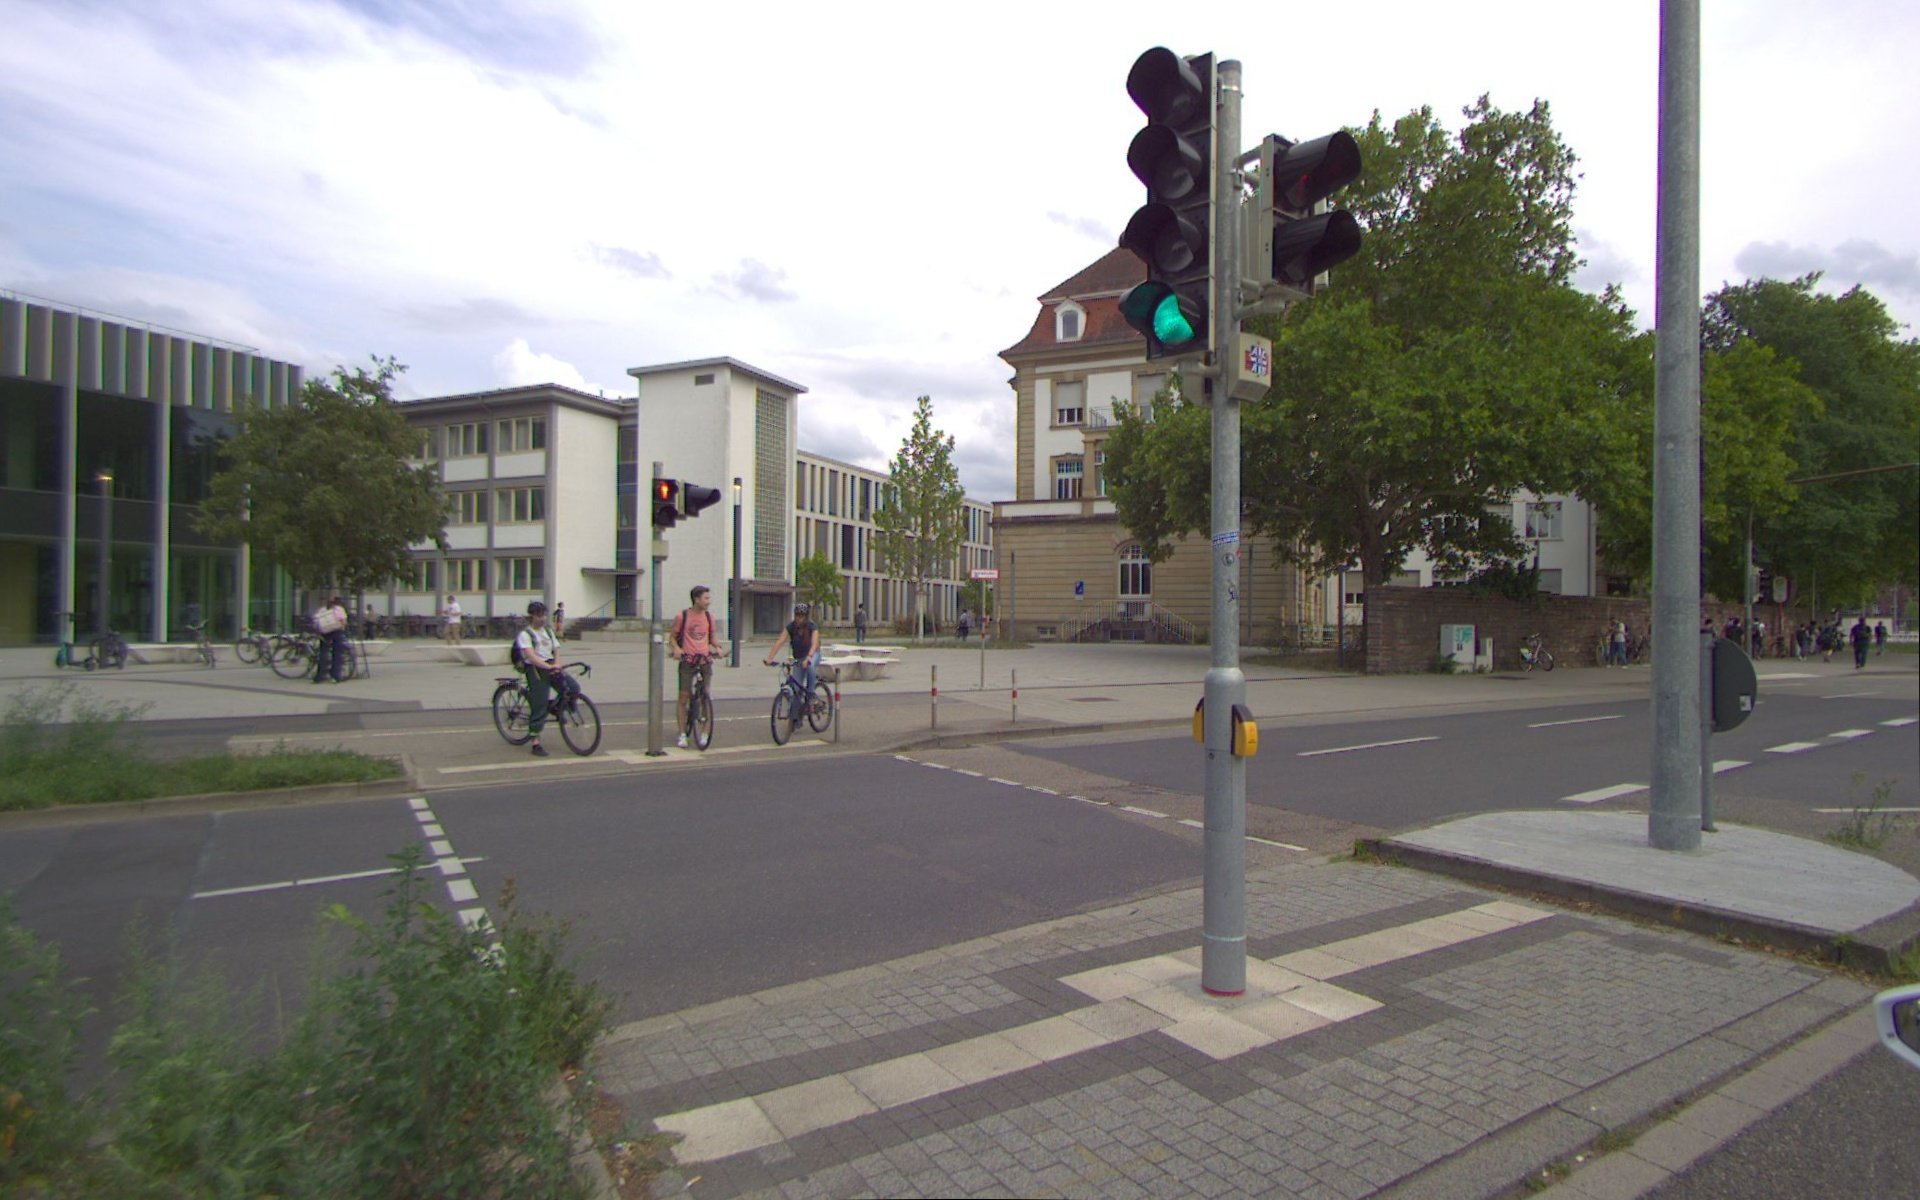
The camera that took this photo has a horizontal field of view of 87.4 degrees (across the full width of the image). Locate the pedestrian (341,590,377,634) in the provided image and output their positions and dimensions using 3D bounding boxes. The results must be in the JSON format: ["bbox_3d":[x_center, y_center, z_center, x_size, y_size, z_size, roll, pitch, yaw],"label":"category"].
[{"bbox_3d":[-26.811,0.543,44.821,1.051,1.956,0.974,0,-1,26],"label":"pedestrian"}]

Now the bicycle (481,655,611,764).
[{"bbox_3d":[-4.704,1.189,11.346,0.724,1.002,1.798,1,0,-44],"label":"bicycle"}]

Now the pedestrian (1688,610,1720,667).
[{"bbox_3d":[24.117,1.259,32.555,0.748,1.806,0.782,1,-2,32],"label":"pedestrian"}]

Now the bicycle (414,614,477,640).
[{"bbox_3d":[-23.614,1.236,46.174,0.732,1.149,2.671,0,-1,25],"label":"bicycle"}]

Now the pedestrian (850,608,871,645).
[{"bbox_3d":[-4.366,1.163,43.964,0.726,1.569,0.700,1,-1,-25],"label":"pedestrian"}]

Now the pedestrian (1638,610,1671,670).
[{"bbox_3d":[21.411,1.219,30.971,0.733,1.806,0.783,1,-2,29],"label":"pedestrian"}]

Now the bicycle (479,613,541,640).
[{"bbox_3d":[-19.677,1.141,43.981,0.732,1.149,2.671,0,-1,25],"label":"bicycle"}]

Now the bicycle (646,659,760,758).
[{"bbox_3d":[-3.132,1.271,12.161,0.568,1.002,1.670,1,0,-44],"label":"bicycle"}]

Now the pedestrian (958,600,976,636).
[{"bbox_3d":[0.395,1.015,56.444,0.778,2.040,0.836,0,0,20],"label":"pedestrian"}]

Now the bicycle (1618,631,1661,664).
[{"bbox_3d":[23.512,1.633,34.736,1.961,1.072,0.545,1,2,-35],"label":"bicycle"}]

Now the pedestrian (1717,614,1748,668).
[{"bbox_3d":[26.301,1.405,34.223,0.748,1.806,0.782,1,-2,33],"label":"pedestrian"}]

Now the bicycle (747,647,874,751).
[{"bbox_3d":[-1.954,1.227,12.933,1.870,1.185,0.603,0,-1,45],"label":"bicycle"}]

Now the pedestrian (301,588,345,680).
[{"bbox_3d":[-11.325,0.602,17.877,0.566,1.602,0.649,1,-1,-26],"label":"pedestrian"}]

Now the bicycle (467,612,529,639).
[{"bbox_3d":[-20.596,1.118,44.814,0.732,1.149,2.671,0,-1,25],"label":"bicycle"}]

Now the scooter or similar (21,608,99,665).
[{"bbox_3d":[-20.016,0.799,22.321,2.086,1.214,0.595,0,-1,28],"label":"scooter or similar"}]

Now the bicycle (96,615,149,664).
[{"bbox_3d":[-18.957,0.869,22.719,2.646,1.013,0.669,0,-1,45],"label":"bicycle"}]

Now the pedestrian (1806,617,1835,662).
[{"bbox_3d":[34.707,1.592,40.520,0.748,1.806,0.922,1,-2,33],"label":"pedestrian"}]

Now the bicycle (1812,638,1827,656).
[{"bbox_3d":[43.882,2.393,51.288,0.436,0.838,1.611,3,1,44],"label":"bicycle"}]

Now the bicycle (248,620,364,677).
[{"bbox_3d":[-11.948,0.876,18.409,1.727,1.012,0.437,1,-1,-28],"label":"bicycle"}]

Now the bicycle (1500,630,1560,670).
[{"bbox_3d":[16.947,1.474,29.836,2.142,1.141,0.574,1,2,-33],"label":"bicycle"}]

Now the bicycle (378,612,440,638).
[{"bbox_3d":[-25.946,1.174,47.361,0.732,1.149,2.671,0,-1,25],"label":"bicycle"}]

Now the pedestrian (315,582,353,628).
[{"bbox_3d":[-27.012,0.224,43.356,1.050,1.956,0.974,2,0,26],"label":"pedestrian"}]

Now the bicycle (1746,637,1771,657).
[{"bbox_3d":[34.314,2.009,43.153,1.606,0.807,0.437,0,2,-38],"label":"bicycle"}]

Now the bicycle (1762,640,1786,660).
[{"bbox_3d":[36.088,2.219,44.530,1.606,0.807,0.437,0,2,-38],"label":"bicycle"}]

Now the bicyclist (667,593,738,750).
[{"bbox_3d":[-3.114,0.842,12.152,0.558,1.831,0.593,1,1,-45],"label":"bicyclist"}]

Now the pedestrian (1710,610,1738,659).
[{"bbox_3d":[28.731,1.315,37.799,0.748,1.806,0.912,1,-2,33],"label":"pedestrian"}]

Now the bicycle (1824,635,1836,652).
[{"bbox_3d":[48.165,2.406,55.611,0.412,0.890,1.546,3,1,44],"label":"bicycle"}]

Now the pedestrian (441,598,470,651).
[{"bbox_3d":[-17.289,0.838,34.440,0.585,1.802,0.636,0,-1,28],"label":"pedestrian"}]

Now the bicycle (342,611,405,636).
[{"bbox_3d":[-28.256,1.112,48.475,0.732,1.149,2.671,0,-1,25],"label":"bicycle"}]

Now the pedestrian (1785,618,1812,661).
[{"bbox_3d":[35.713,1.683,42.784,0.748,1.806,0.782,1,-2,33],"label":"pedestrian"}]

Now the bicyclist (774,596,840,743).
[{"bbox_3d":[-1.987,0.879,13.012,0.558,1.831,0.593,1,1,-45],"label":"bicyclist"}]

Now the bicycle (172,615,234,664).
[{"bbox_3d":[-18.178,0.929,24.100,2.646,1.104,0.792,0,-1,45],"label":"bicycle"}]

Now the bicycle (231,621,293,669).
[{"bbox_3d":[-17.365,1.086,24.951,2.646,1.104,0.792,0,-1,45],"label":"bicycle"}]

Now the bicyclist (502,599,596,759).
[{"bbox_3d":[-4.609,0.850,11.254,0.719,1.695,0.719,1,1,-45],"label":"bicyclist"}]

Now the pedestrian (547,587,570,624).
[{"bbox_3d":[-17.211,0.231,43.059,0.644,1.569,0.599,1,-1,11],"label":"pedestrian"}]

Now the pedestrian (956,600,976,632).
[{"bbox_3d":[0.386,1.051,64.663,0.899,2.040,1.232,0,-1,20],"label":"pedestrian"}]

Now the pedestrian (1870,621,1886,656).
[{"bbox_3d":[45.240,1.913,49.509,0.623,1.690,0.554,3,-2,-45],"label":"pedestrian"}]

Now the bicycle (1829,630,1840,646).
[{"bbox_3d":[49.809,2.154,57.212,0.343,0.890,1.513,3,1,44],"label":"bicycle"}]

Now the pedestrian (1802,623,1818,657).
[{"bbox_3d":[40.739,1.916,48.148,0.579,1.613,0.732,1,-2,39],"label":"pedestrian"}]

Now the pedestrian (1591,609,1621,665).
[{"bbox_3d":[21.258,1.207,33.068,0.733,1.806,0.783,1,-2,27],"label":"pedestrian"}]

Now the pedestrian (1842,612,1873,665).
[{"bbox_3d":[31.606,1.352,35.362,0.749,1.806,0.719,1,-2,38],"label":"pedestrian"}]

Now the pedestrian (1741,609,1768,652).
[{"bbox_3d":[32.093,1.217,40.569,0.748,1.693,0.921,1,1,33],"label":"pedestrian"}]

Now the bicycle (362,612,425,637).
[{"bbox_3d":[-27.031,1.145,47.974,0.732,1.149,2.671,0,-1,25],"label":"bicycle"}]

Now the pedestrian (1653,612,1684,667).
[{"bbox_3d":[23.856,1.335,33.841,0.748,1.806,0.782,1,-2,30],"label":"pedestrian"}]

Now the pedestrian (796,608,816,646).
[{"bbox_3d":[-6.413,1.114,41.804,0.648,1.569,0.706,1,-1,-25],"label":"pedestrian"}]
